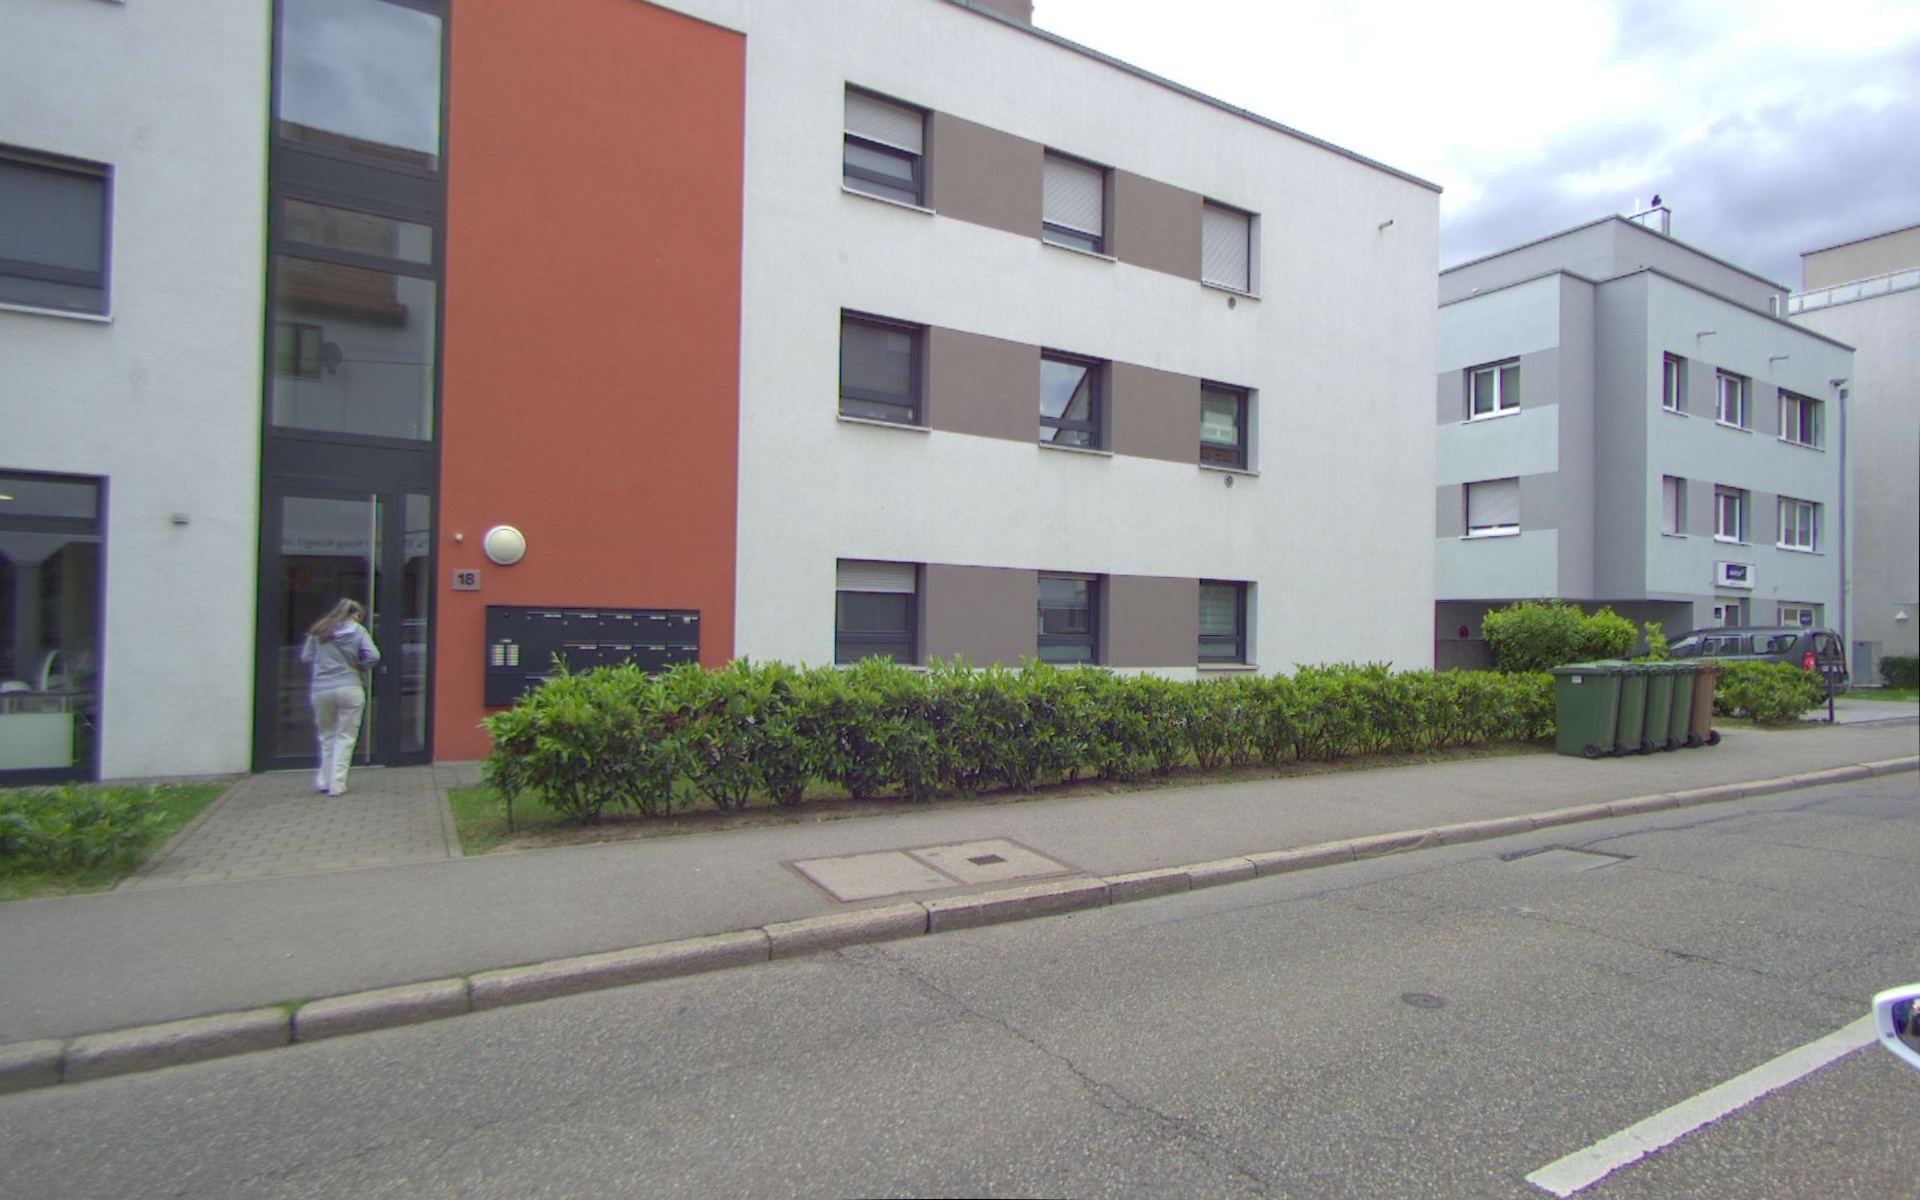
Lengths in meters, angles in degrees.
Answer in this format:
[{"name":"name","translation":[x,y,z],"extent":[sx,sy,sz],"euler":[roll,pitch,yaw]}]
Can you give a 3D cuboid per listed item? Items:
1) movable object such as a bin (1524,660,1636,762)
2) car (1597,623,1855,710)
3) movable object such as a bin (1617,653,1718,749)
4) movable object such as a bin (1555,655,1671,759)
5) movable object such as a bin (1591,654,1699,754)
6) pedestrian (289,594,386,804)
[{"name":"movable object such as a bin","translation":[7.330,1.279,11.888],"extent":[0.785,1.103,0.889],"euler":[1,-1,-34]},{"name":"car","translation":[16.463,1.355,21.835],"extent":[1.702,1.689,4.149],"euler":[2,-2,-26]},{"name":"movable object such as a bin","translation":[9.275,1.303,13.185],"extent":[0.606,1.166,0.935],"euler":[1,-1,-34]},{"name":"movable object such as a bin","translation":[8.022,1.281,12.353],"extent":[0.832,1.166,0.950],"euler":[1,-1,-34]},{"name":"movable object such as a bin","translation":[8.712,1.297,12.785],"extent":[0.741,1.166,0.942],"euler":[1,-1,-34]},{"name":"pedestrian","translation":[-5.148,0.791,8.334],"extent":[0.633,1.664,0.516],"euler":[1,-1,-31]}]
